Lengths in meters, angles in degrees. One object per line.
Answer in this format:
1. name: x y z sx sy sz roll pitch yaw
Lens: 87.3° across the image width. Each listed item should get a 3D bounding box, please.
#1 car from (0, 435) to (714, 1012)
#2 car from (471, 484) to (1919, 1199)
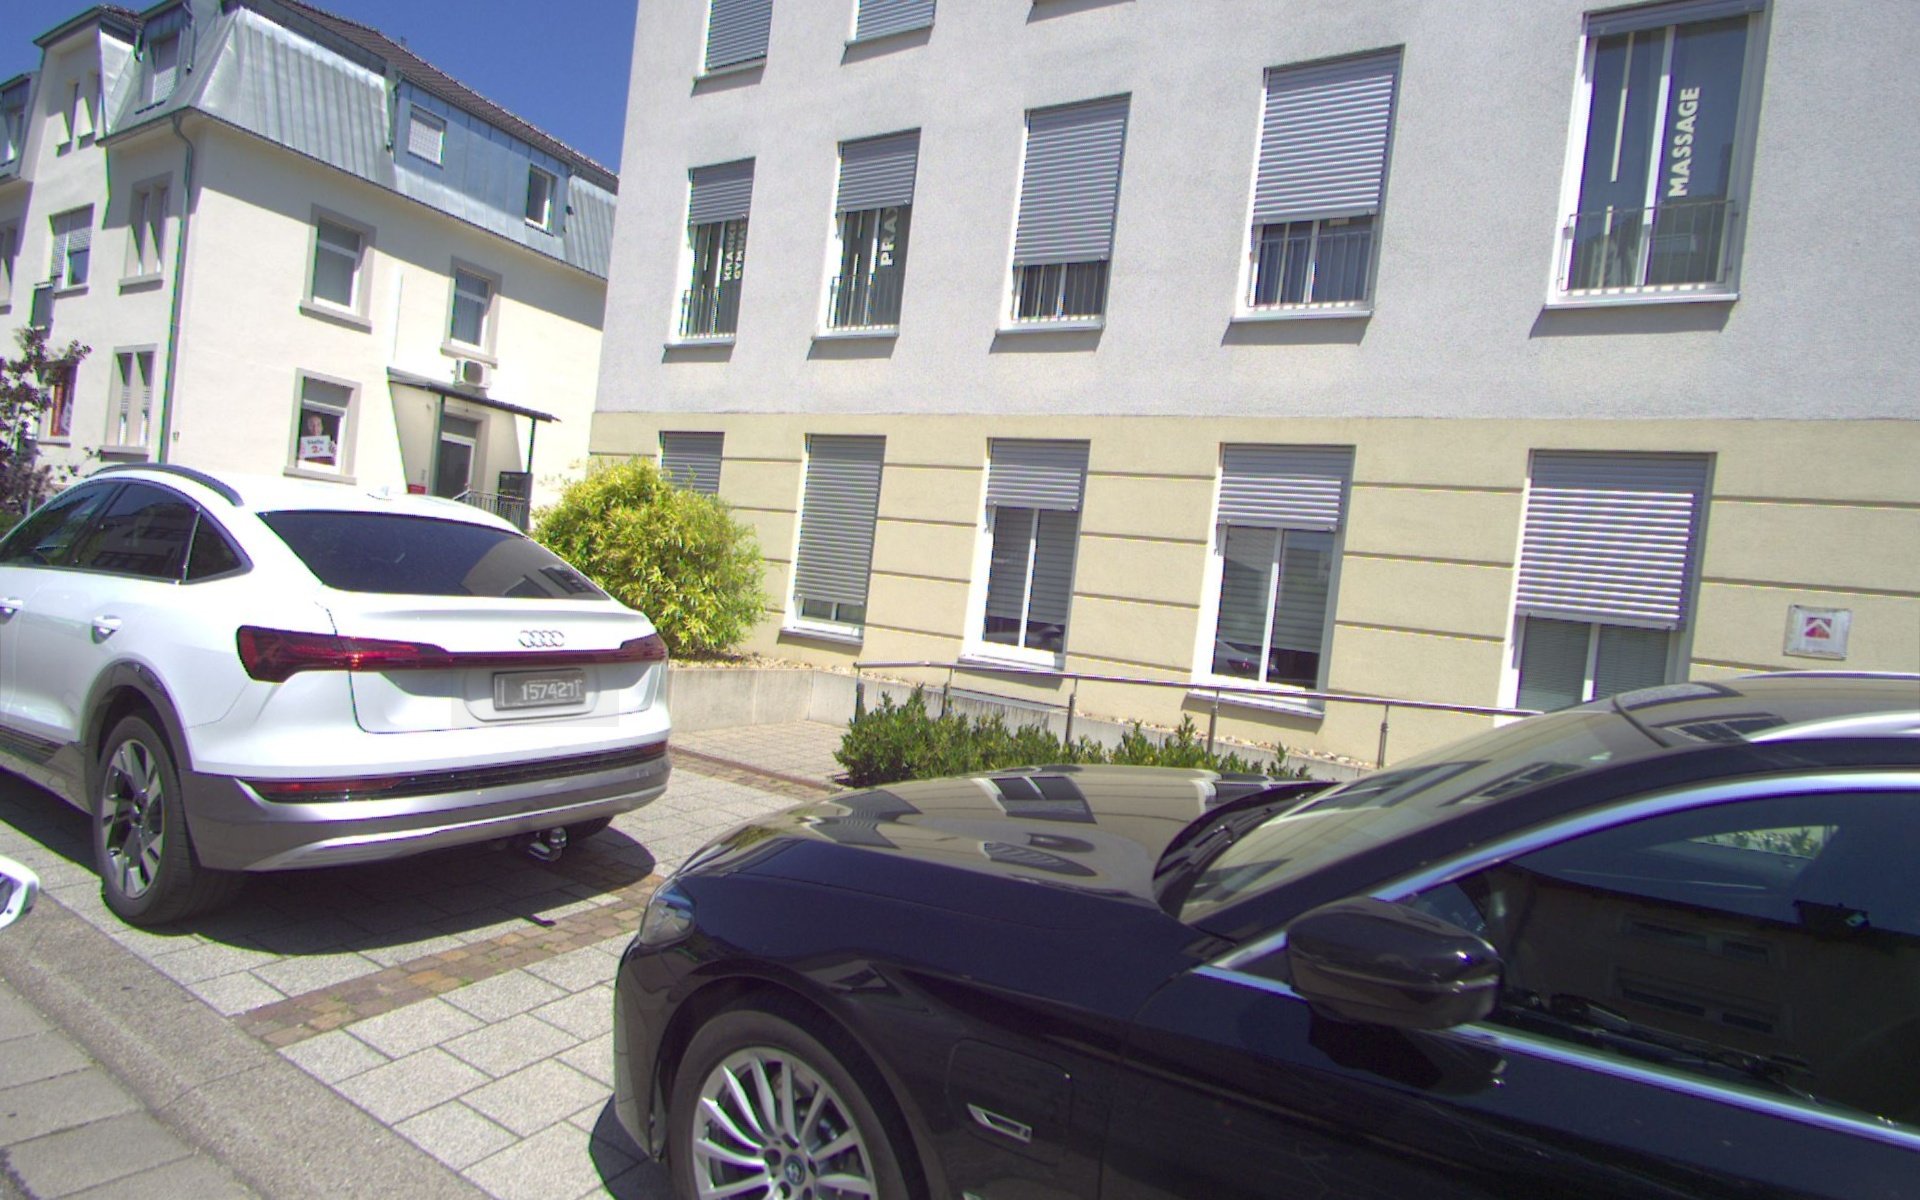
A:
1. car: -3.503 0.219 4.881 4.504 1.687 1.707 7 0 32
2. car: 1.357 0.788 1.778 4.669 1.576 1.706 7 1 32
